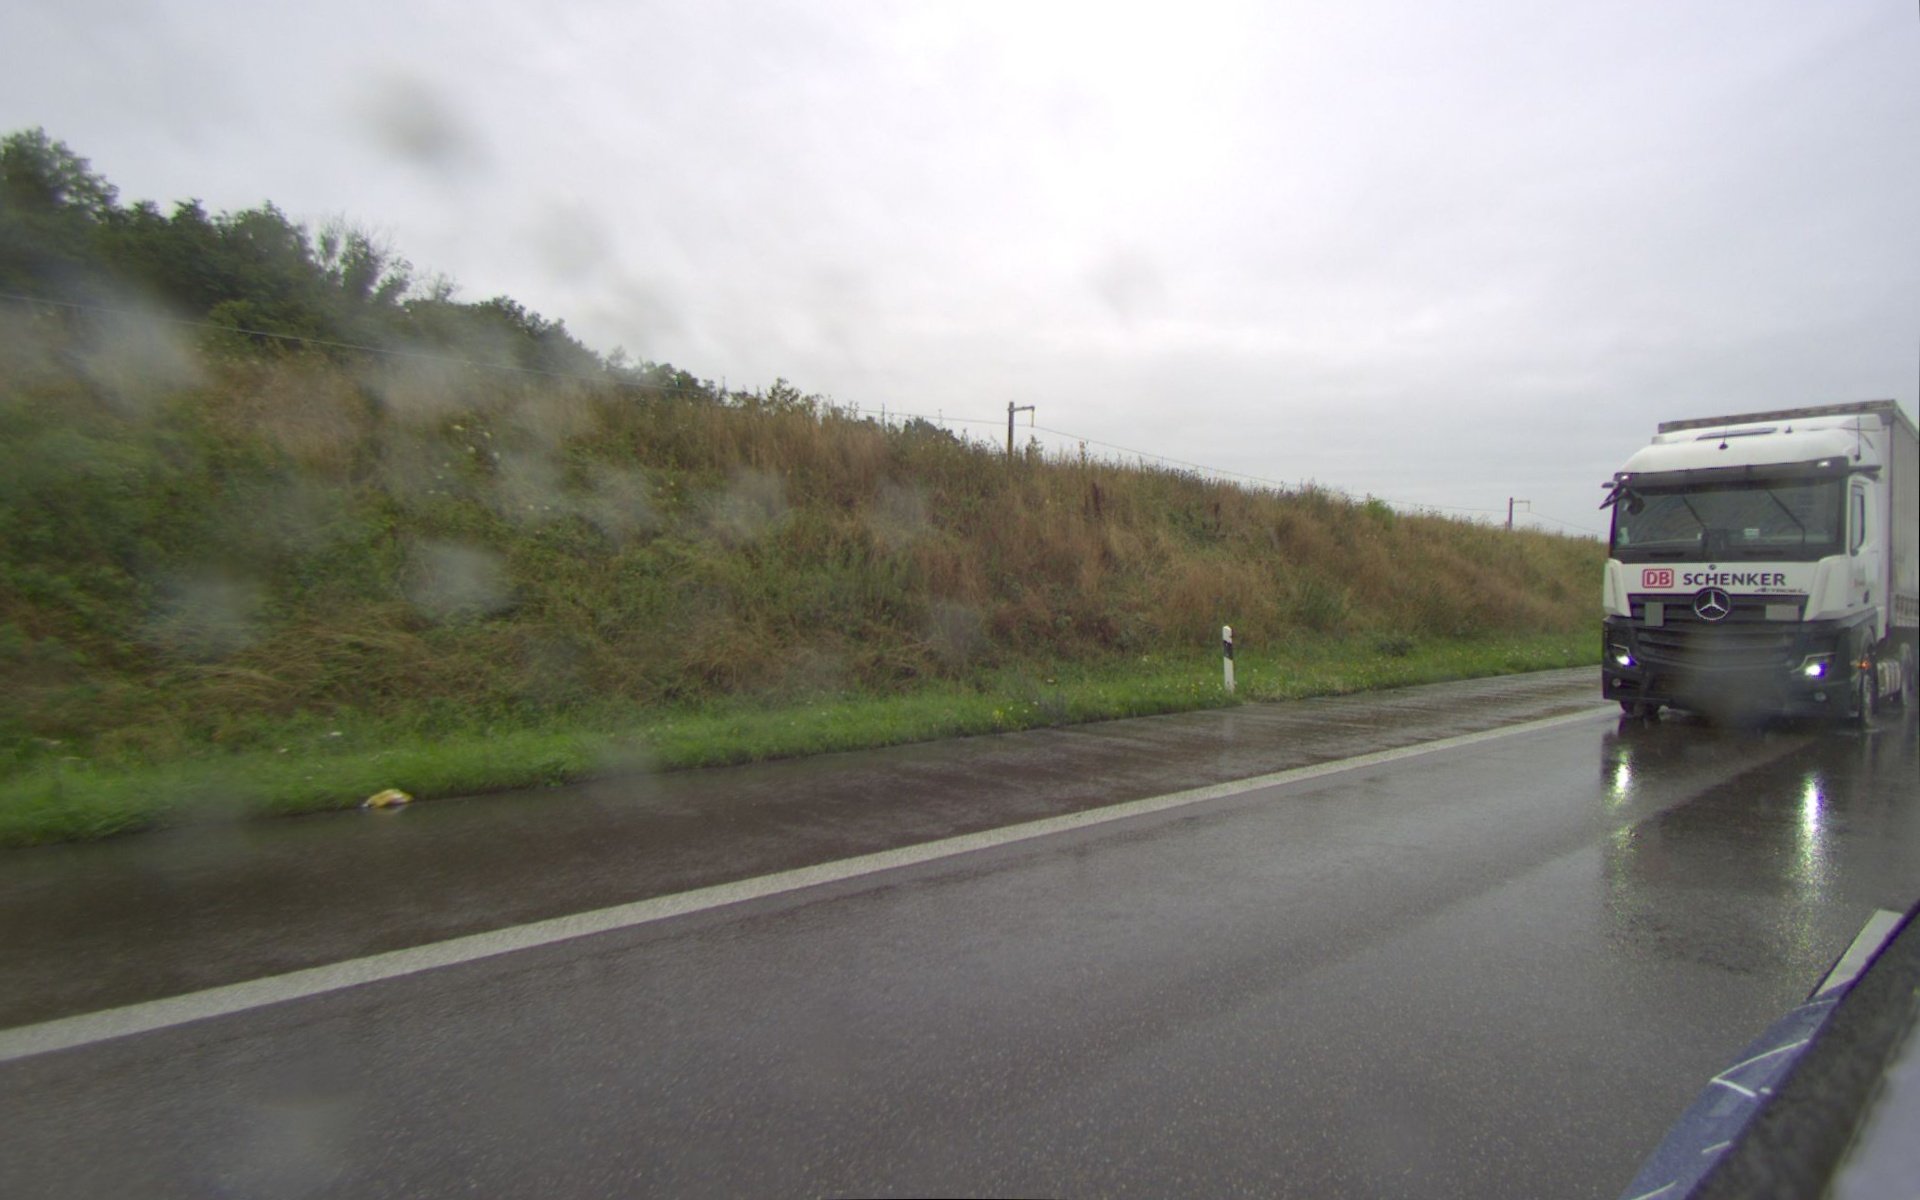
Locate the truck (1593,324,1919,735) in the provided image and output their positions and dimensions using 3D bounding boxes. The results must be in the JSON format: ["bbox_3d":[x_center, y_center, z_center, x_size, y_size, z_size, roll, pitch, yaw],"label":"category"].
[{"bbox_3d":[10.592,-0.764,13.239,4.956,4.307,2.630,0,0,-41],"label":"truck"}]

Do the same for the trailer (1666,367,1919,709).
[{"bbox_3d":[16.389,-0.842,18.313,13.929,4.302,2.631,-1,0,-41],"label":"trailer"}]
